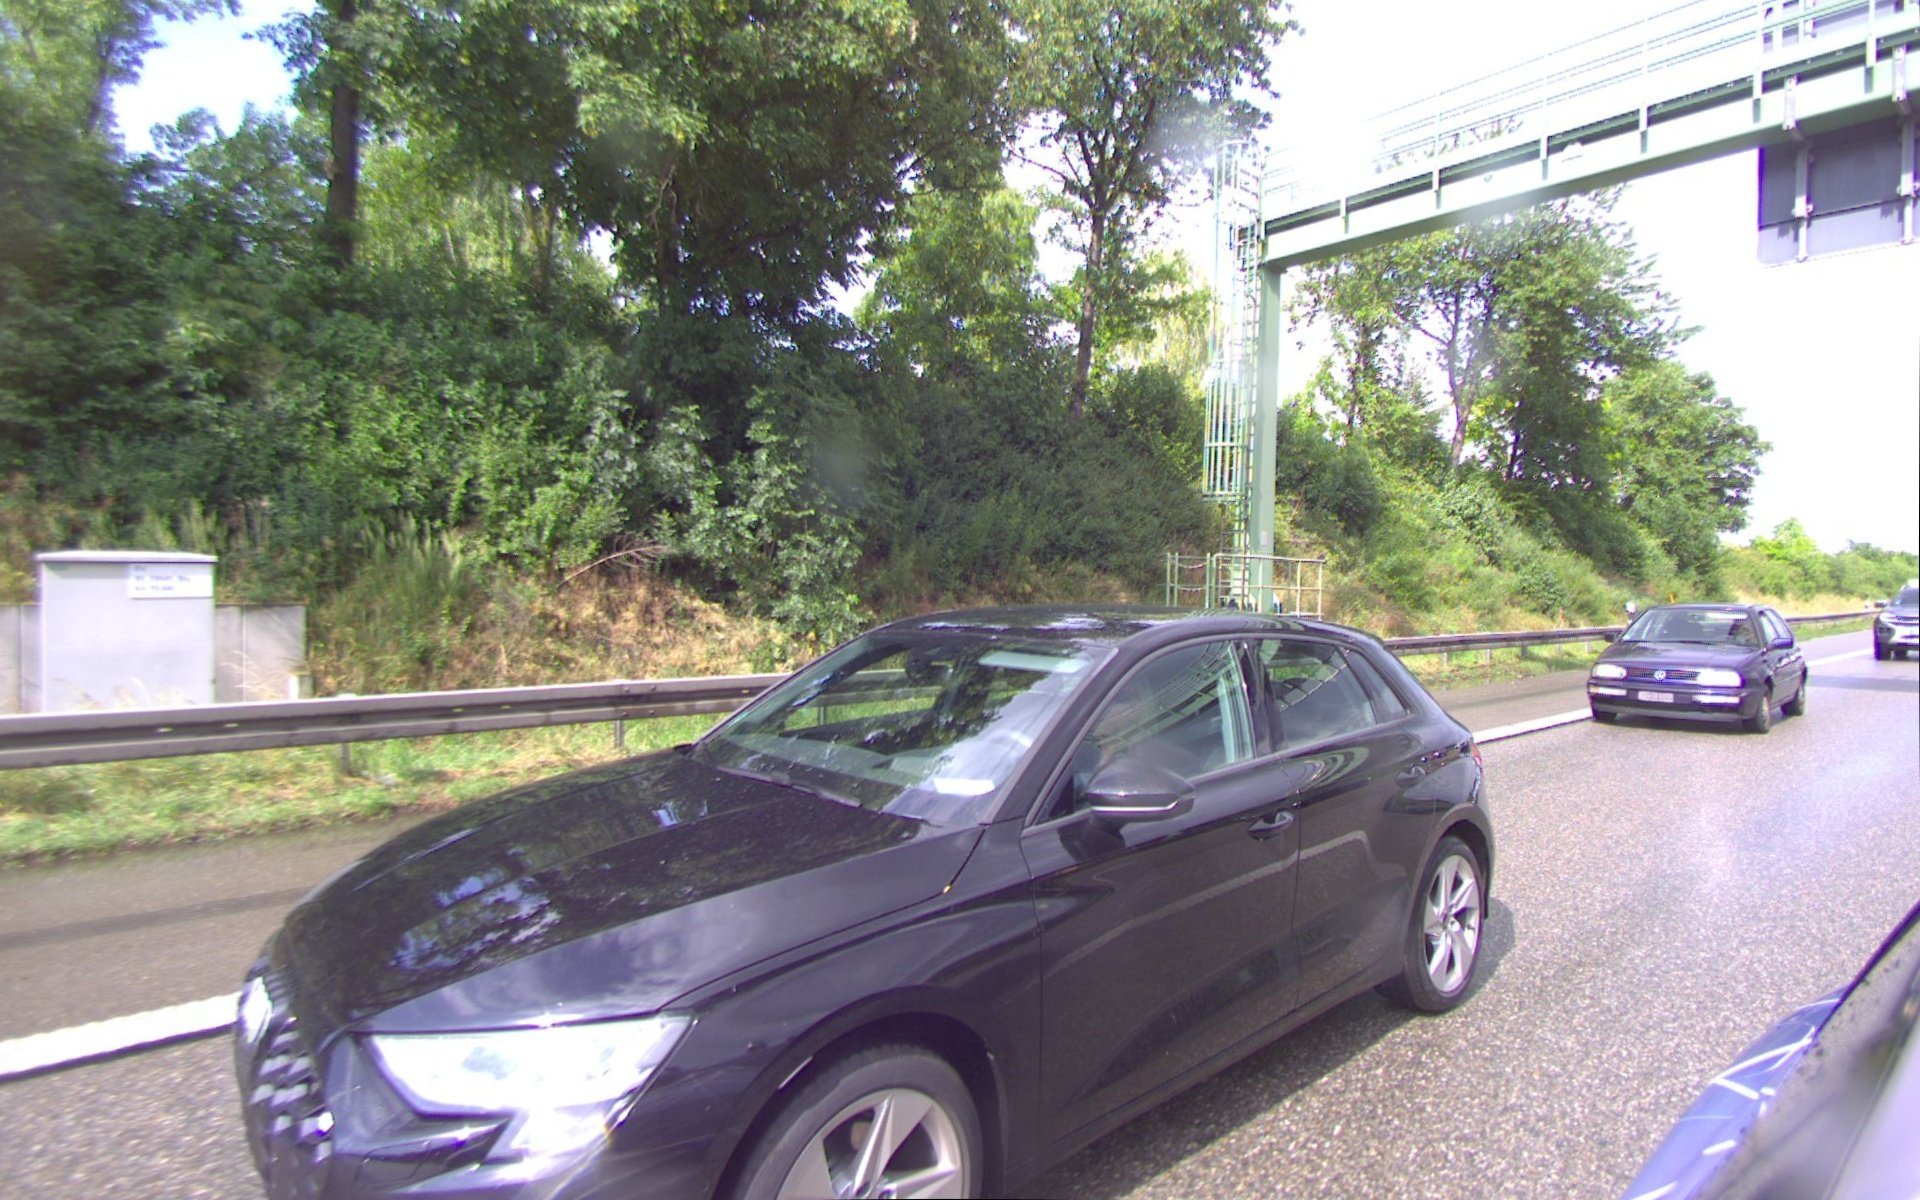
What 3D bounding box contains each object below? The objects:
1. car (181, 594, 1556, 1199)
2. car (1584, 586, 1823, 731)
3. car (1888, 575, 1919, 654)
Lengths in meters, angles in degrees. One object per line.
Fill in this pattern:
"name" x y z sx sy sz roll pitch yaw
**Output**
"car" 0.210 0.695 3.312 4.292 1.414 1.758 0 1 -41
"car" 9.087 0.583 12.262 3.681 1.474 1.653 0 1 -42
"car" 24.385 0.344 24.840 5.213 1.826 1.830 0 1 -41
